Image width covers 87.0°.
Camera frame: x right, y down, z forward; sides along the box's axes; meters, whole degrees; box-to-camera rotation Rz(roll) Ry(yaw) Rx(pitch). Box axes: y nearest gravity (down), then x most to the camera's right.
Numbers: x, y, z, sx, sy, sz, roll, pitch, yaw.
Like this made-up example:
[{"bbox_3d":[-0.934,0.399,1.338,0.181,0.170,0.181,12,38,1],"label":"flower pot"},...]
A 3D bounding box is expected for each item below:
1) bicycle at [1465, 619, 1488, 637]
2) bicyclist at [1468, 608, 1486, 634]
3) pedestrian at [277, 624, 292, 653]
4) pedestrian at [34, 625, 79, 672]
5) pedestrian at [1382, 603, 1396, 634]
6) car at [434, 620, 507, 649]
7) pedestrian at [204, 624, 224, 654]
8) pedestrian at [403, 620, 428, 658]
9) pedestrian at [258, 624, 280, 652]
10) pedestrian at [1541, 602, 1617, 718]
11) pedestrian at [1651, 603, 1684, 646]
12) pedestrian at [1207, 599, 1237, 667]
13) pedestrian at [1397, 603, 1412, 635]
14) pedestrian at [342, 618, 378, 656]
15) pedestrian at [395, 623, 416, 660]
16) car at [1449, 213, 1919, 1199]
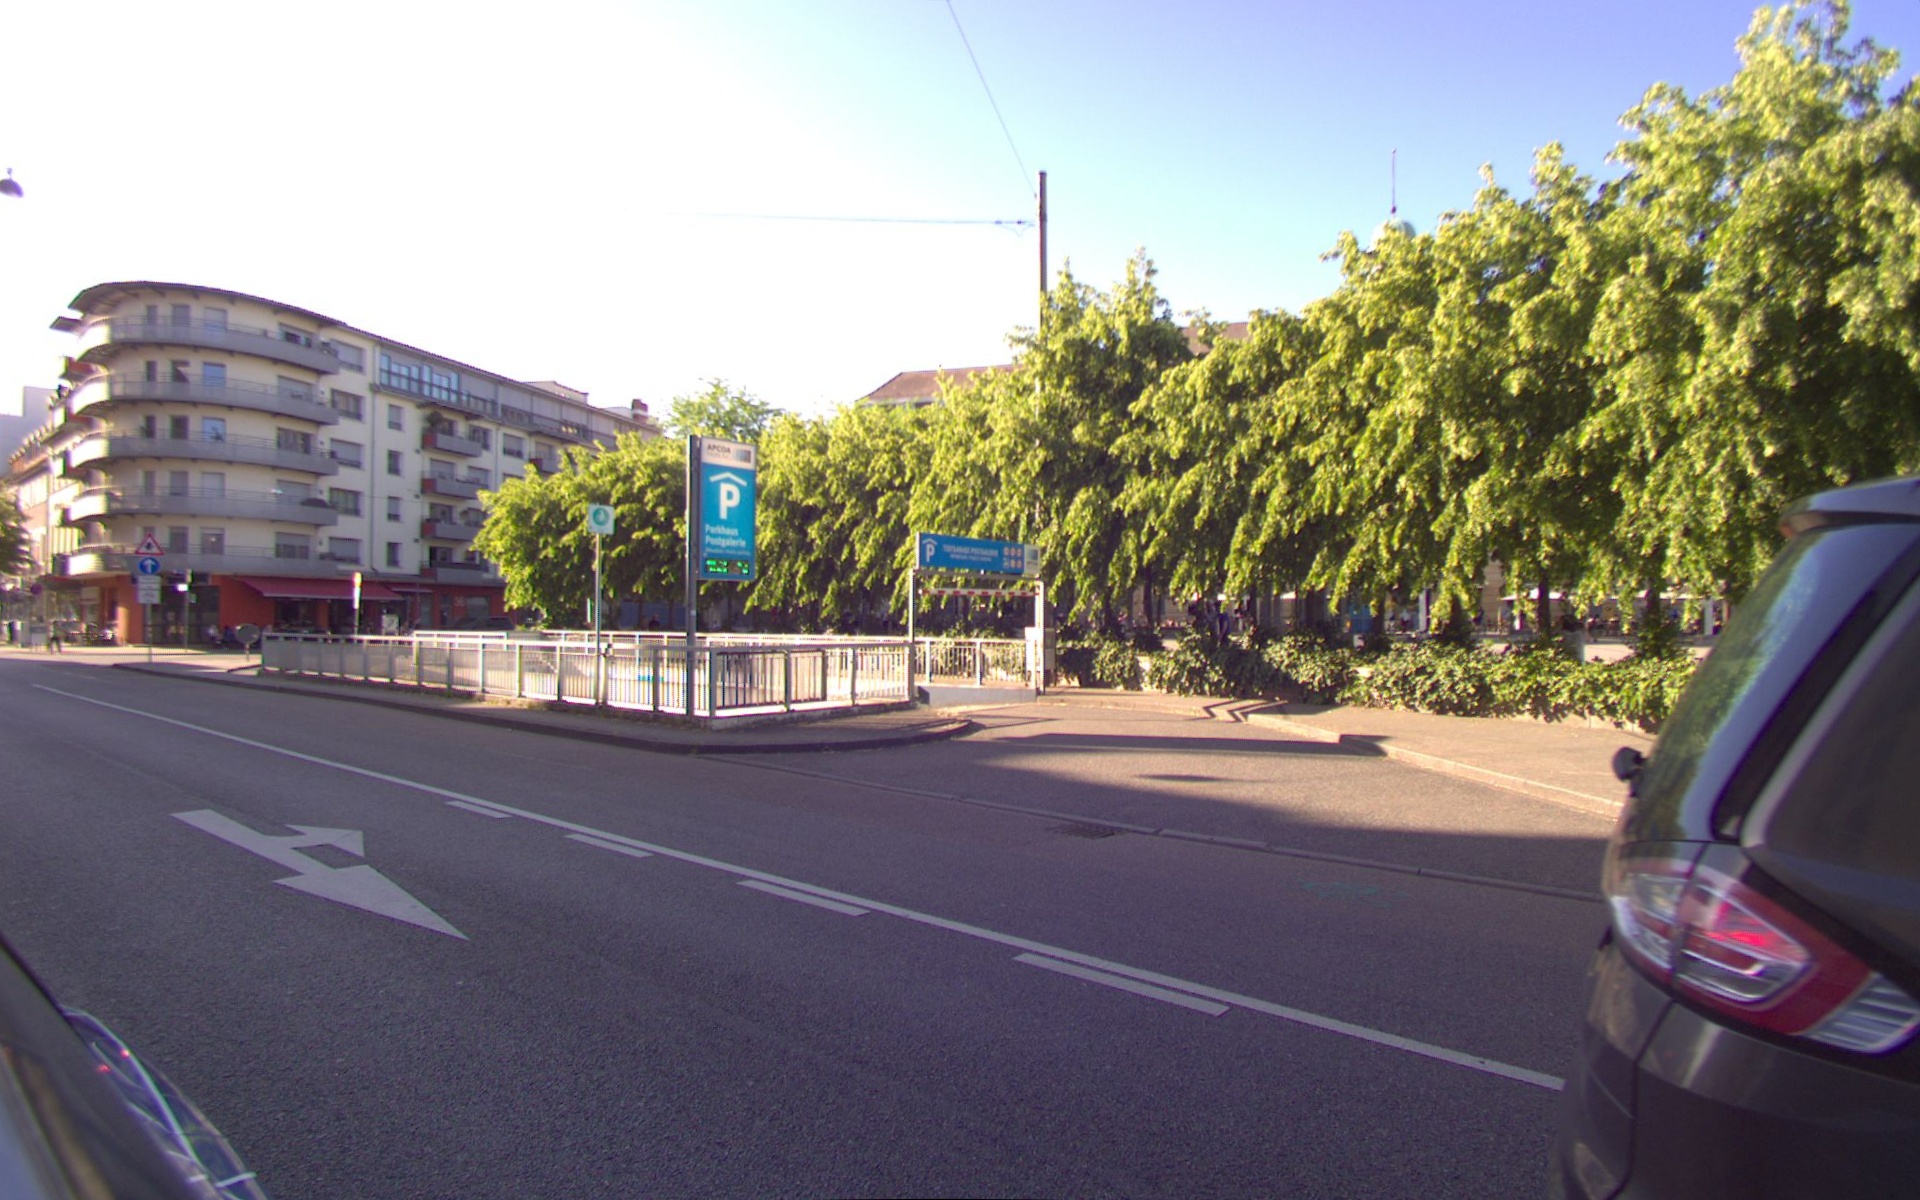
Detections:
[{"bbox_3d":[28.533,1.546,55.902,0.583,0.961,1.900,0,-1,11],"label":"bicycle"},{"bbox_3d":[28.531,1.157,55.864,0.666,1.439,0.696,-1,-1,11],"label":"bicyclist"},{"bbox_3d":[-35.312,2.014,52.900,0.573,1.501,0.794,0,-1,-36],"label":"pedestrian"},{"bbox_3d":[-40.432,2.134,45.291,1.005,2.029,1.202,-1,0,-8],"label":"pedestrian"},{"bbox_3d":[26.580,1.149,62.713,0.751,1.948,0.938,-1,-1,20],"label":"pedestrian"},{"bbox_3d":[-30.522,2.123,63.212,1.983,1.763,3.977,-1,-1,17],"label":"car"},{"bbox_3d":[-37.735,1.981,51.210,0.780,1.472,0.583,0,-1,-40],"label":"pedestrian"},{"bbox_3d":[-26.474,1.912,49.209,0.753,1.819,0.748,-1,-1,25],"label":"pedestrian"},{"bbox_3d":[-36.732,2.019,53.781,0.782,1.473,0.582,0,-1,3],"label":"pedestrian"},{"bbox_3d":[9.769,0.922,15.983,0.885,1.771,0.738,0,-1,-39],"label":"pedestrian"},{"bbox_3d":[29.943,1.036,42.836,0.889,1.771,0.735,-1,-1,8],"label":"pedestrian"},{"bbox_3d":[6.532,0.819,25.286,0.672,1.683,0.843,-1,-1,13],"label":"pedestrian"},{"bbox_3d":[27.414,1.159,62.396,0.751,1.948,0.938,-1,-1,20],"label":"pedestrian"},{"bbox_3d":[-32.834,2.004,55.389,1.251,2.029,1.226,-1,-1,19],"label":"pedestrian"},{"bbox_3d":[-26.673,1.987,48.681,0.697,1.719,0.667,-1,-1,33],"label":"pedestrian"},{"bbox_3d":[3.003,0.526,0.403,4.724,1.785,1.973,-1,-2,40],"label":"car"}]
